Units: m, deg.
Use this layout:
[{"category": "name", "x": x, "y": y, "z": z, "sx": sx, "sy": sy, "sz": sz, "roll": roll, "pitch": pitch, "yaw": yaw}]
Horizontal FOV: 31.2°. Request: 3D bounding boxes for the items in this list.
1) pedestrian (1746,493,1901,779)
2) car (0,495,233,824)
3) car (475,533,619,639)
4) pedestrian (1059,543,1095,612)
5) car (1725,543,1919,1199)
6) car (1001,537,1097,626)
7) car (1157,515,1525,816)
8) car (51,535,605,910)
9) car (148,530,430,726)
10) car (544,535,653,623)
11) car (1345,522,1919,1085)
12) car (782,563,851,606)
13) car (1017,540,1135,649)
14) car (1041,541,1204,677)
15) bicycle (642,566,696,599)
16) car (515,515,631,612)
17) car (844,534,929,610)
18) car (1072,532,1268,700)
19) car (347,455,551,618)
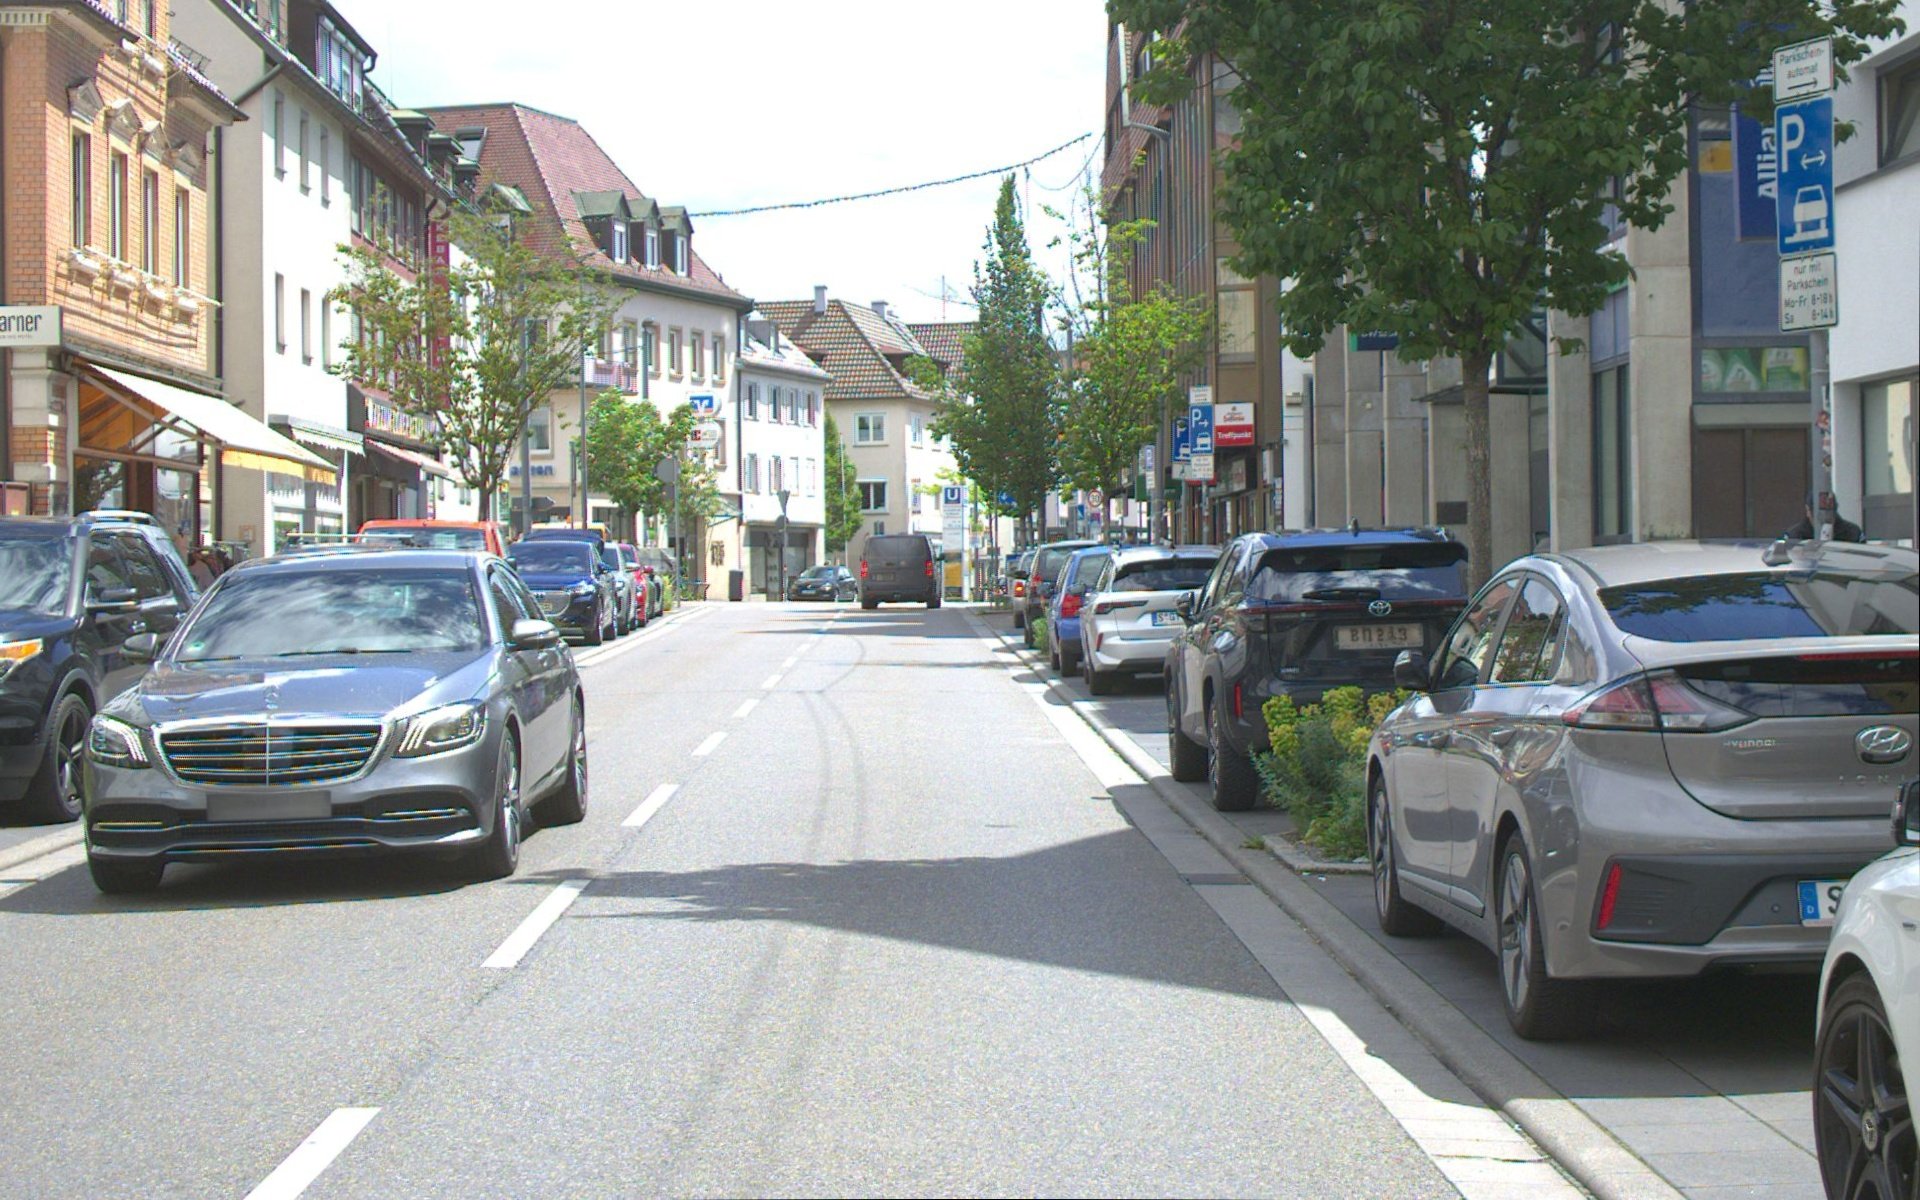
[{"category": "pedestrian", "x": 5.346, "y": 0.218, "z": 21.317, "sx": 0.741, "sy": 1.731, "sz": 0.757, "roll": 1, "pitch": 0, "yaw": 0}, {"category": "car", "x": -5.851, "y": 0.298, "z": 20.667, "sx": 1.816, "sy": 1.749, "sz": 4.668, "roll": 1, "pitch": 0, "yaw": 2}, {"category": "car", "x": -6.444, "y": -0.243, "z": 54.043, "sx": 1.799, "sy": 1.592, "sz": 4.389, "roll": 0, "pitch": 1, "yaw": -1}, {"category": "pedestrian", "x": 2.741, "y": -0.522, "z": 80.885, "sx": 0.784, "sy": 1.610, "sz": 0.800, "roll": 1, "pitch": 0, "yaw": -1}, {"category": "car", "x": 2.592, "y": 0.645, "z": 5.513, "sx": 1.630, "sy": 1.471, "sz": 4.957, "roll": 1, "pitch": 0, "yaw": 0}, {"category": "car", "x": 1.621, "y": -0.357, "z": 63.315, "sx": 1.609, "sy": 1.490, "sz": 3.795, "roll": -4, "pitch": 1, "yaw": 1}, {"category": "car", "x": 2.148, "y": 0.342, "z": 20.362, "sx": 1.721, "sy": 1.571, "sz": 4.109, "roll": 1, "pitch": 0, "yaw": 0}, {"category": "car", "x": -2.933, "y": 0.479, "z": 16.982, "sx": 1.905, "sy": 1.558, "sz": 4.646, "roll": -1, "pitch": 1, "yaw": -1}, {"category": "car", "x": -6.464, "y": 0.249, "z": 33.572, "sx": 1.816, "sy": 1.749, "sz": 4.464, "roll": 1, "pitch": 0, "yaw": 0}, {"category": "car", "x": -6.805, "y": -0.414, "z": 65.062, "sx": 1.799, "sy": 1.598, "sz": 4.219, "roll": -1, "pitch": 1, "yaw": -3}, {"category": "car", "x": 2.365, "y": 0.537, "z": 11.265, "sx": 1.721, "sy": 1.471, "sz": 4.354, "roll": 1, "pitch": 0, "yaw": 0}, {"category": "car", "x": -5.104, "y": -0.535, "z": 122.714, "sx": 1.625, "sy": 1.481, "sz": 3.803, "roll": 1, "pitch": 0, "yaw": 11}, {"category": "car", "x": 1.691, "y": -0.108, "z": 51.081, "sx": 1.609, "sy": 1.527, "sz": 3.795, "roll": -1, "pitch": 1, "yaw": 0}, {"category": "car", "x": 1.858, "y": 0.096, "z": 40.423, "sx": 1.721, "sy": 1.488, "sz": 4.109, "roll": 1, "pitch": 0, "yaw": 0}, {"category": "bicycle", "x": -9.297, "y": -0.568, "z": 109.806, "sx": 1.633, "sy": 1.027, "sz": 0.567, "roll": 1, "pitch": 0, "yaw": 15}, {"category": "car", "x": -6.637, "y": -0.646, "z": 59.339, "sx": 1.799, "sy": 1.598, "sz": 4.352, "roll": -1, "pitch": 1, "yaw": -4}, {"category": "car", "x": -1.889, "y": -0.691, "z": 87.281, "sx": 2.040, "sy": 1.842, "sz": 5.000, "roll": 1, "pitch": 0, "yaw": -2}, {"category": "car", "x": 2.073, "y": 0.144, "z": 35.008, "sx": 1.721, "sy": 1.571, "sz": 4.428, "roll": 1, "pitch": 0, "yaw": 0}, {"category": "car", "x": -6.296, "y": -0.751, "z": 42.863, "sx": 1.816, "sy": 1.882, "sz": 4.841, "roll": 1, "pitch": 0, "yaw": 0}]
